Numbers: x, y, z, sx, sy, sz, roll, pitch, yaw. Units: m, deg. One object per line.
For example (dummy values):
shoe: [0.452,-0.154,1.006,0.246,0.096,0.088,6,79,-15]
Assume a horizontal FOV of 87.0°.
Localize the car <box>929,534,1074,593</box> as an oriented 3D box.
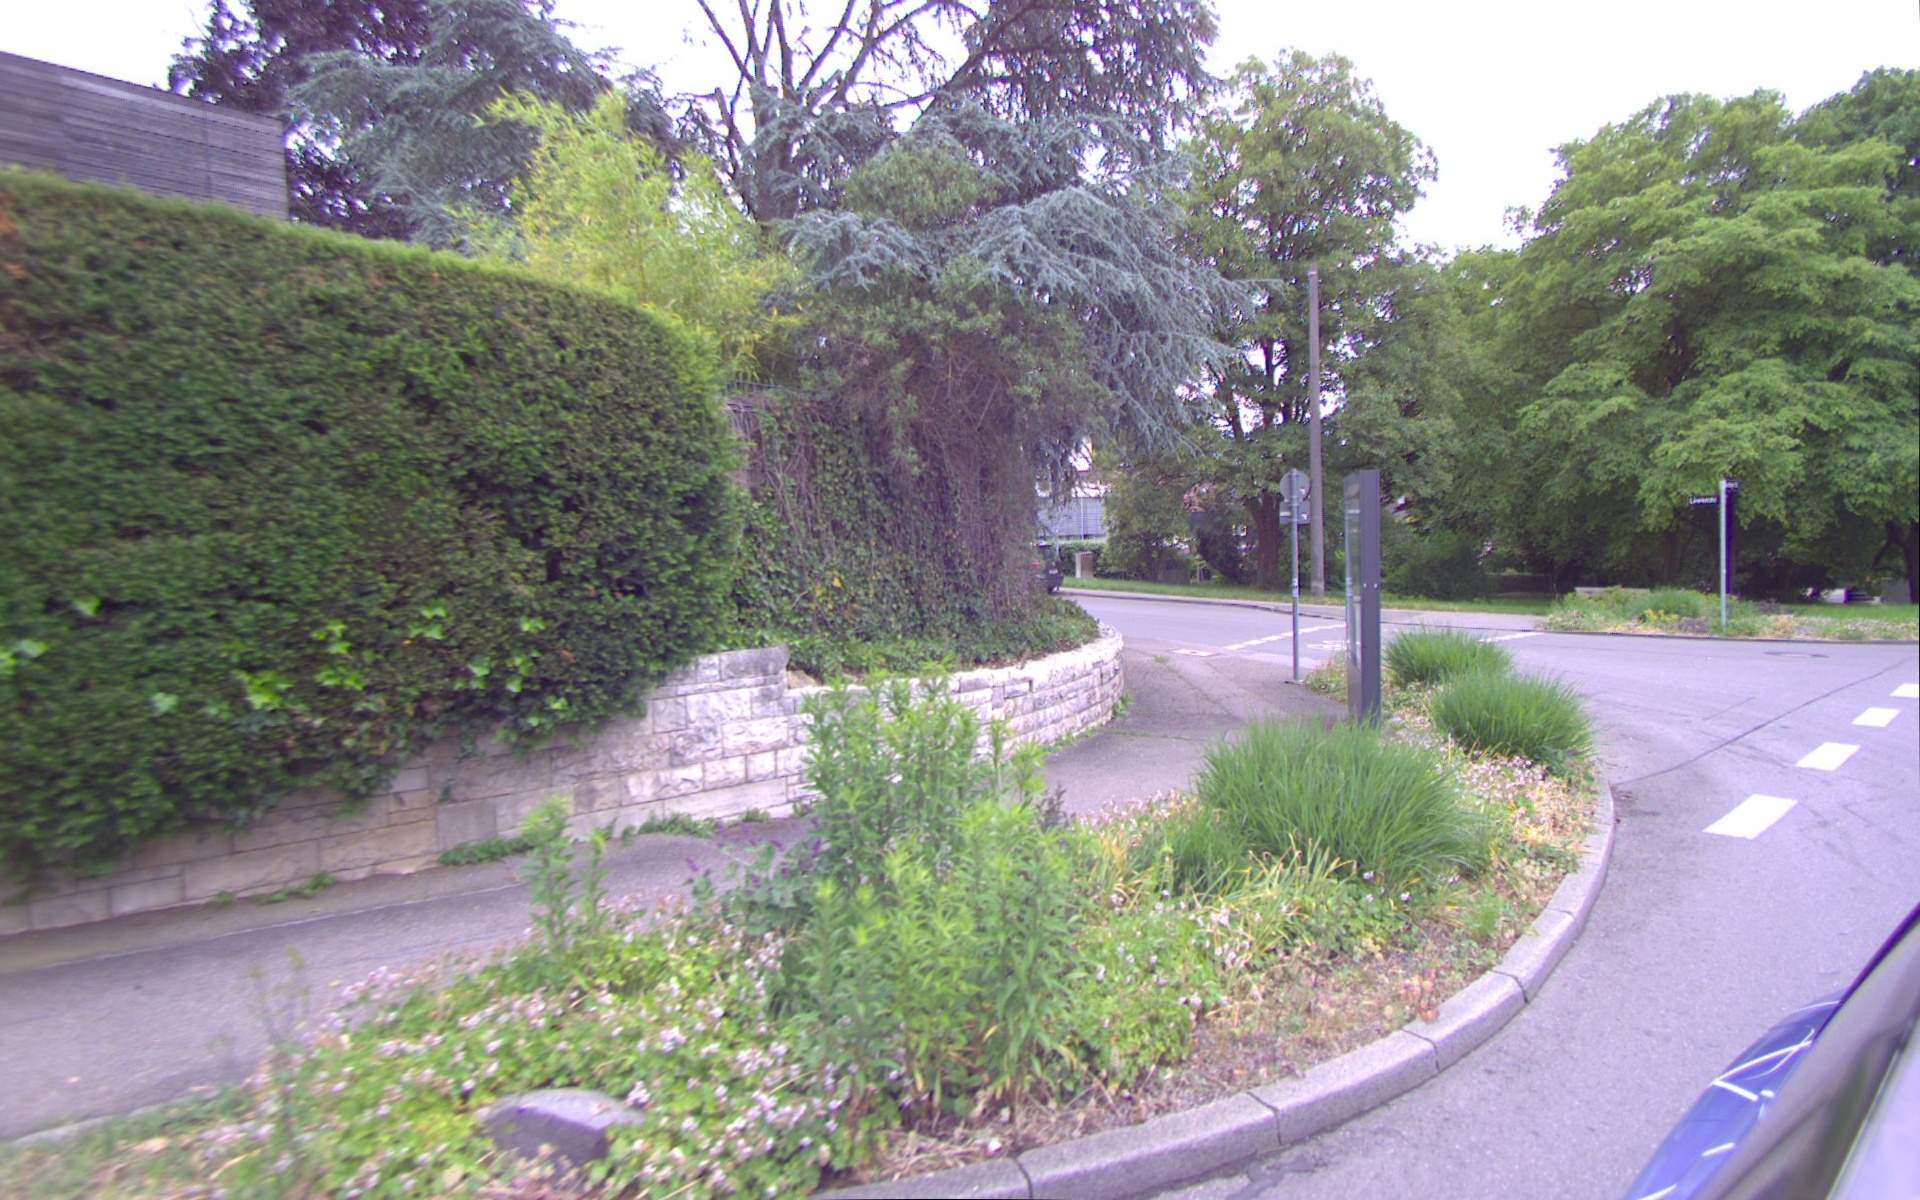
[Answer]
car: [1.190,-1.139,29.767,3.977,1.554,1.801,3,6,36]
